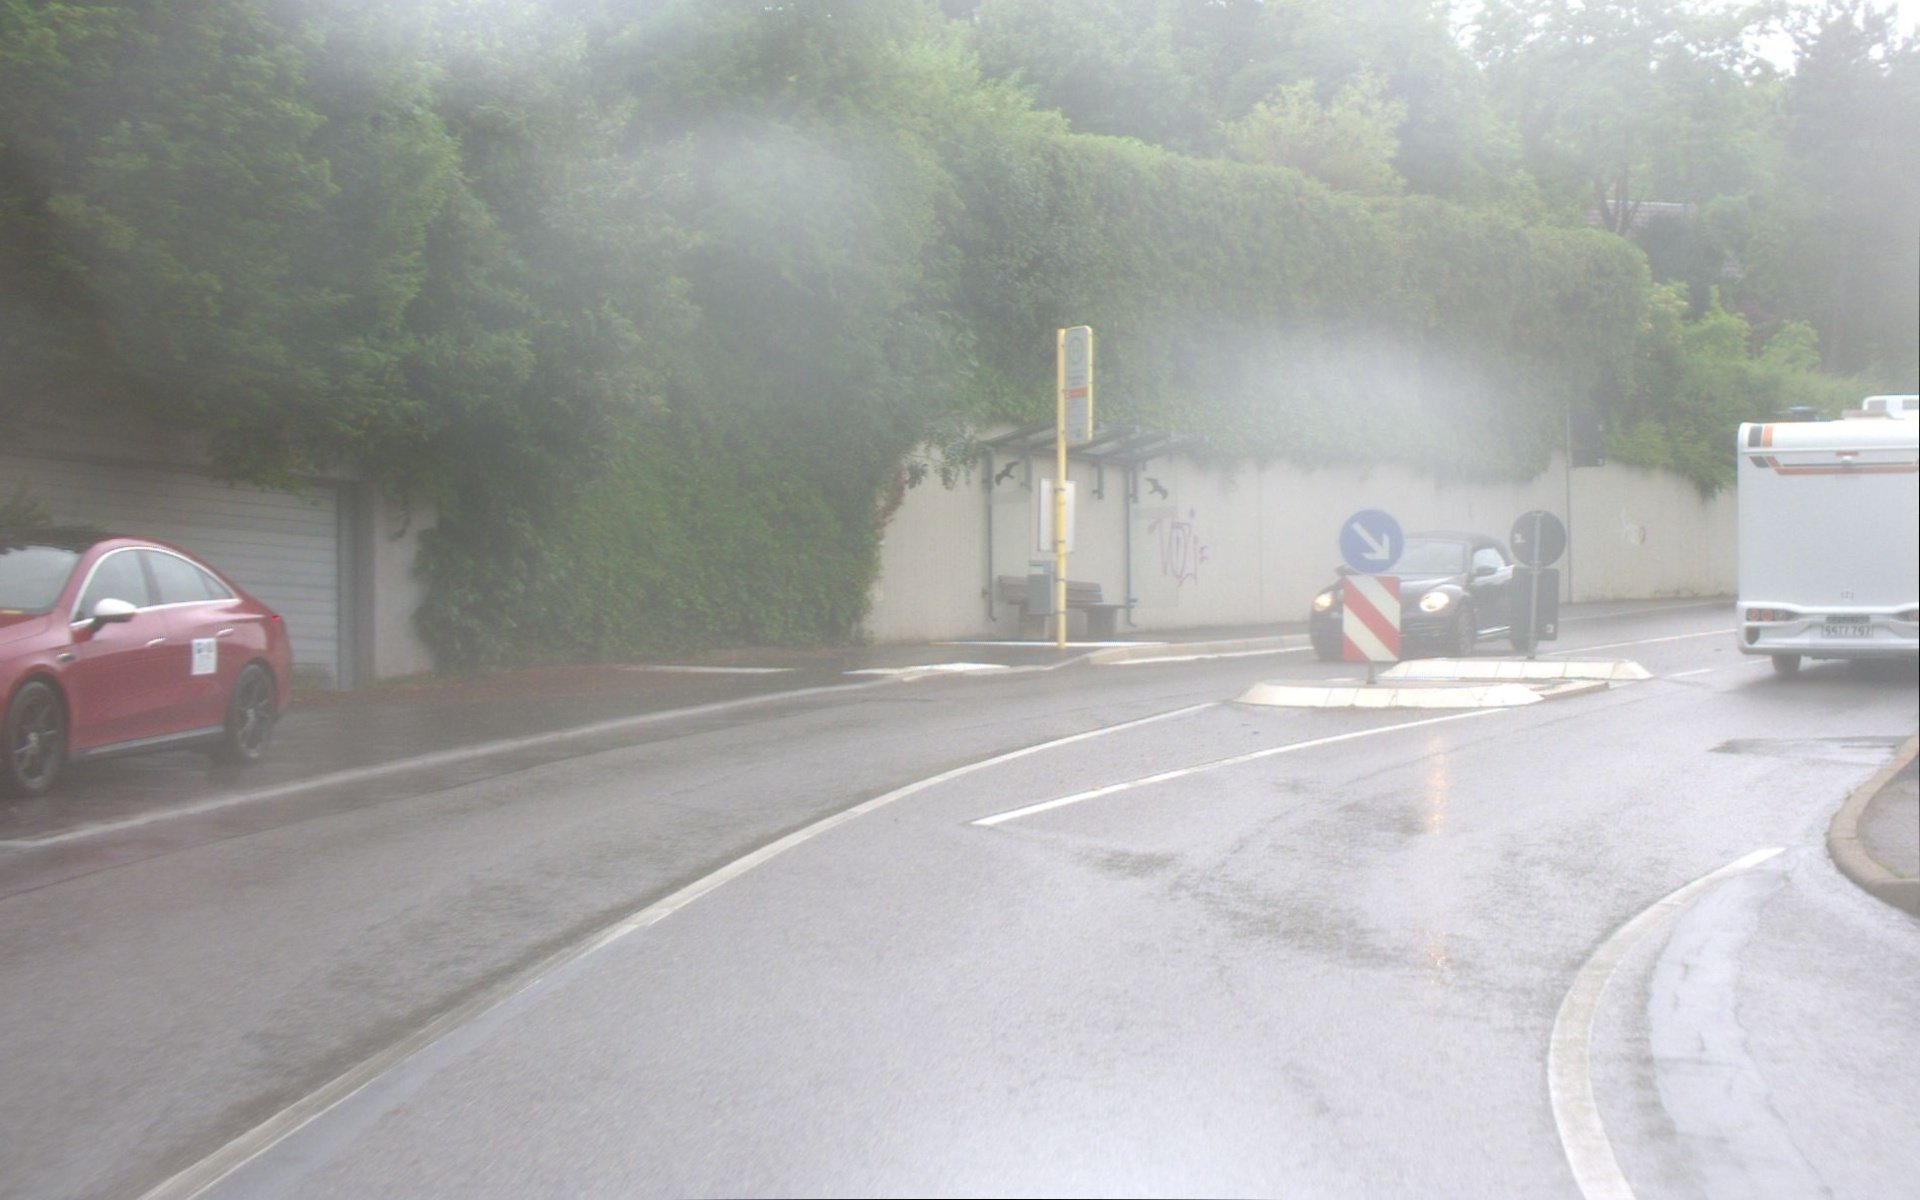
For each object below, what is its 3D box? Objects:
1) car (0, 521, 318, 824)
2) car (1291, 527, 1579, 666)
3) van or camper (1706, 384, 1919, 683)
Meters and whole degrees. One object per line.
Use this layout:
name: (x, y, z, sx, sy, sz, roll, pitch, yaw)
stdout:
car: (-5.608, 0.334, 20.093, 1.994, 1.556, 4.650, 1, 2, 12)
car: (5.706, -0.065, 40.923, 1.730, 1.411, 3.993, -3, 1, 34)
van or camper: (9.885, -0.775, 36.701, 2.543, 2.914, 5.941, 2, 3, 24)
